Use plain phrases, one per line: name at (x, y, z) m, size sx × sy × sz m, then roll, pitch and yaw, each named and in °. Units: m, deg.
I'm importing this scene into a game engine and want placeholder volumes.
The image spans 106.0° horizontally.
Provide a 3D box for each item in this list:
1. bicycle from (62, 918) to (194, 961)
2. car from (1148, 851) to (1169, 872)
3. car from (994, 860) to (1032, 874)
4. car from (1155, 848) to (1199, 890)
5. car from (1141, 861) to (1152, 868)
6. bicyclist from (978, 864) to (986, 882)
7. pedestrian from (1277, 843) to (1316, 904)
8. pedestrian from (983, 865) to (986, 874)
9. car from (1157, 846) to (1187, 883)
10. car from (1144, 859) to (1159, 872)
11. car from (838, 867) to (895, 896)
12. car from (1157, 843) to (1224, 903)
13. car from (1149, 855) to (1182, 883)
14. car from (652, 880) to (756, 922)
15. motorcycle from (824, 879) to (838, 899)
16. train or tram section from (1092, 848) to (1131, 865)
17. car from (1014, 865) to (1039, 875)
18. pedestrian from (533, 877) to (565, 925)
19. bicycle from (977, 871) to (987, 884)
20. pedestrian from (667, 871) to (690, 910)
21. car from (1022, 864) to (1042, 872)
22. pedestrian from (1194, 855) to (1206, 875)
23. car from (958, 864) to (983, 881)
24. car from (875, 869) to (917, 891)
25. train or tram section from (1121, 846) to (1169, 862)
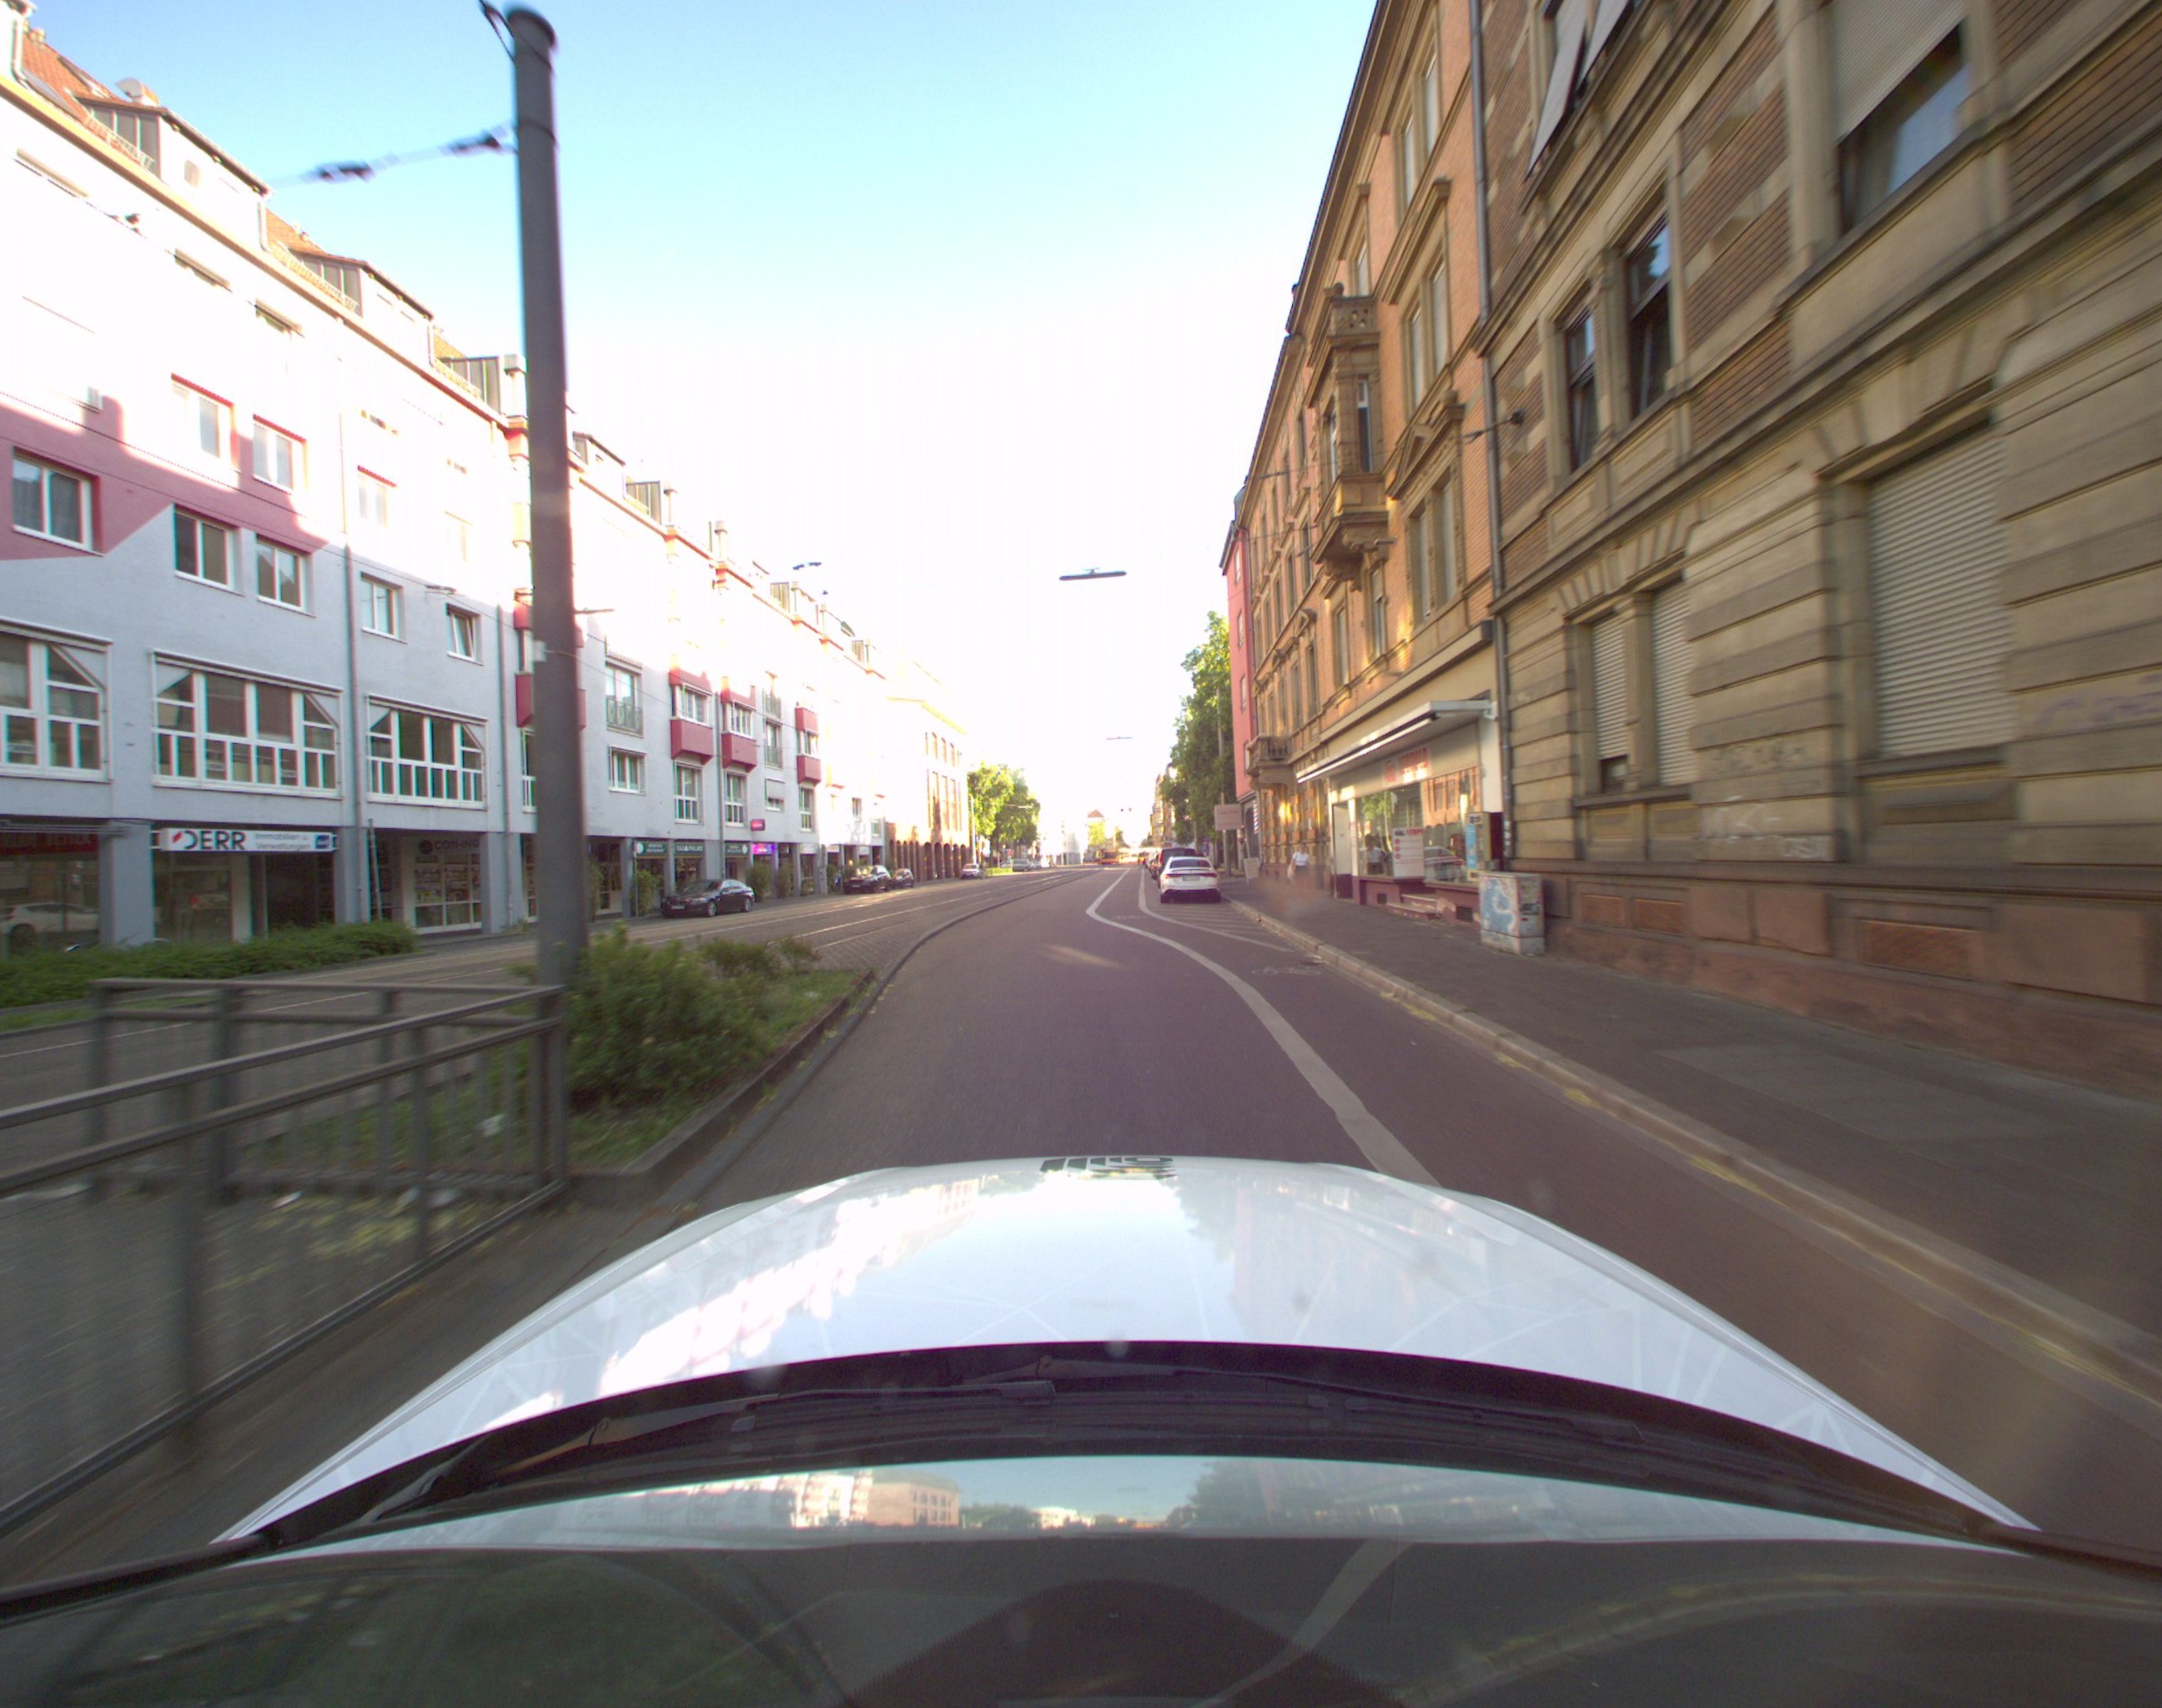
bicycle at (-18.539, 1.640, 15.902) m, size 0.454 × 0.658 × 1.809 m, roll 0°, pitch -1°, yaw -1°
car at (8.054, 0.739, 84.624) m, size 1.962 × 2.014 × 4.564 m, roll -4°, pitch -1°, yaw 5°
car at (-10.299, 2.045, 123.919) m, size 5.282 × 2.043 × 2.396 m, roll 1°, pitch -3°, yaw -28°
car at (4.528, 0.702, 38.945) m, size 1.946 × 1.869 × 4.996 m, roll -1°, pitch -1°, yaw 5°
car at (13.110, 2.057, 162.875) m, size 2.056 × 1.389 × 4.229 m, roll 0°, pitch -1°, yaw 4°
bicyclist at (-9.445, 1.783, 77.643) m, size 0.569 × 1.712 × 0.746 m, roll -4°, pitch -1°, yaw 4°
pedestrian at (5.821, 0.523, 22.030) m, size 0.771 × 1.567 × 0.915 m, roll -5°, pitch -1°, yaw 7°
pedestrian at (-14.369, 2.322, 120.682) m, size 0.363 × 1.343 × 0.480 m, roll 1°, pitch -1°, yaw -16°
car at (5.542, 0.657, 49.552) m, size 1.696 × 2.120 × 3.713 m, roll -2°, pitch -1°, yaw 7°
car at (8.977, 1.428, 103.380) m, size 1.715 × 1.568 × 4.087 m, roll -3°, pitch -1°, yaw 4°
car at (-13.604, 1.747, 51.907) m, size 2.082 × 1.713 × 4.823 m, roll -1°, pitch -2°, yaw 3°
car at (3.547, 0.604, 27.105) m, size 1.957 × 1.771 × 4.882 m, roll -1°, pitch -1°, yaw 5°
car at (5.631, 0.972, 55.030) m, size 1.941 × 1.788 × 5.185 m, roll -1°, pitch -1°, yaw 3°
car at (-15.065, 1.820, 32.837) m, size 1.862 × 1.439 × 4.708 m, roll -1°, pitch -1°, yaw 2°
motorcycle at (-15.353, 2.137, 50.095) m, size 0.670 × 1.205 × 2.131 m, roll 0°, pitch -2°, yaw -12°
train or tram section at (7.065, 0.623, 186.325) m, size 2.666 × 3.960 × 12.166 m, roll 0°, pitch -1°, yaw 36°
car at (-9.556, 2.838, 143.197) m, size 3.890 × 1.627 × 1.859 m, roll 0°, pitch -1°, yaw -27°
pedestrian at (-19.880, 1.746, 30.461) m, size 0.741 × 1.712 × 0.616 m, roll -2°, pitch -1°, yaw 0°
bicycle at (-9.426, 2.234, 77.551) m, size 0.580 × 1.077 × 2.187 m, roll -4°, pitch -1°, yaw 3°
pedestrian at (-18.016, 1.632, 36.474) m, size 0.611 × 1.712 × 0.746 m, roll -2°, pitch -1°, yaw 2°
car at (-9.204, 2.621, 153.531) m, size 3.540 × 1.481 × 1.568 m, roll 0°, pitch -1°, yaw -28°
pedestrian at (9.532, 0.869, 65.442) m, size 0.772 × 1.567 × 0.915 m, roll -5°, pitch -1°, yaw 5°
car at (-11.593, 1.935, 85.635) m, size 1.862 × 1.600 × 4.255 m, roll -2°, pitch 0°, yaw 1°
car at (-13.388, 1.865, 59.160) m, size 1.859 × 1.450 × 3.590 m, roll -1°, pitch -1°, yaw 7°
train or tram section at (15.439, 0.061, 195.164) m, size 12.902 × 3.878 × 2.670 m, roll 1°, pitch -1°, yaw -38°
